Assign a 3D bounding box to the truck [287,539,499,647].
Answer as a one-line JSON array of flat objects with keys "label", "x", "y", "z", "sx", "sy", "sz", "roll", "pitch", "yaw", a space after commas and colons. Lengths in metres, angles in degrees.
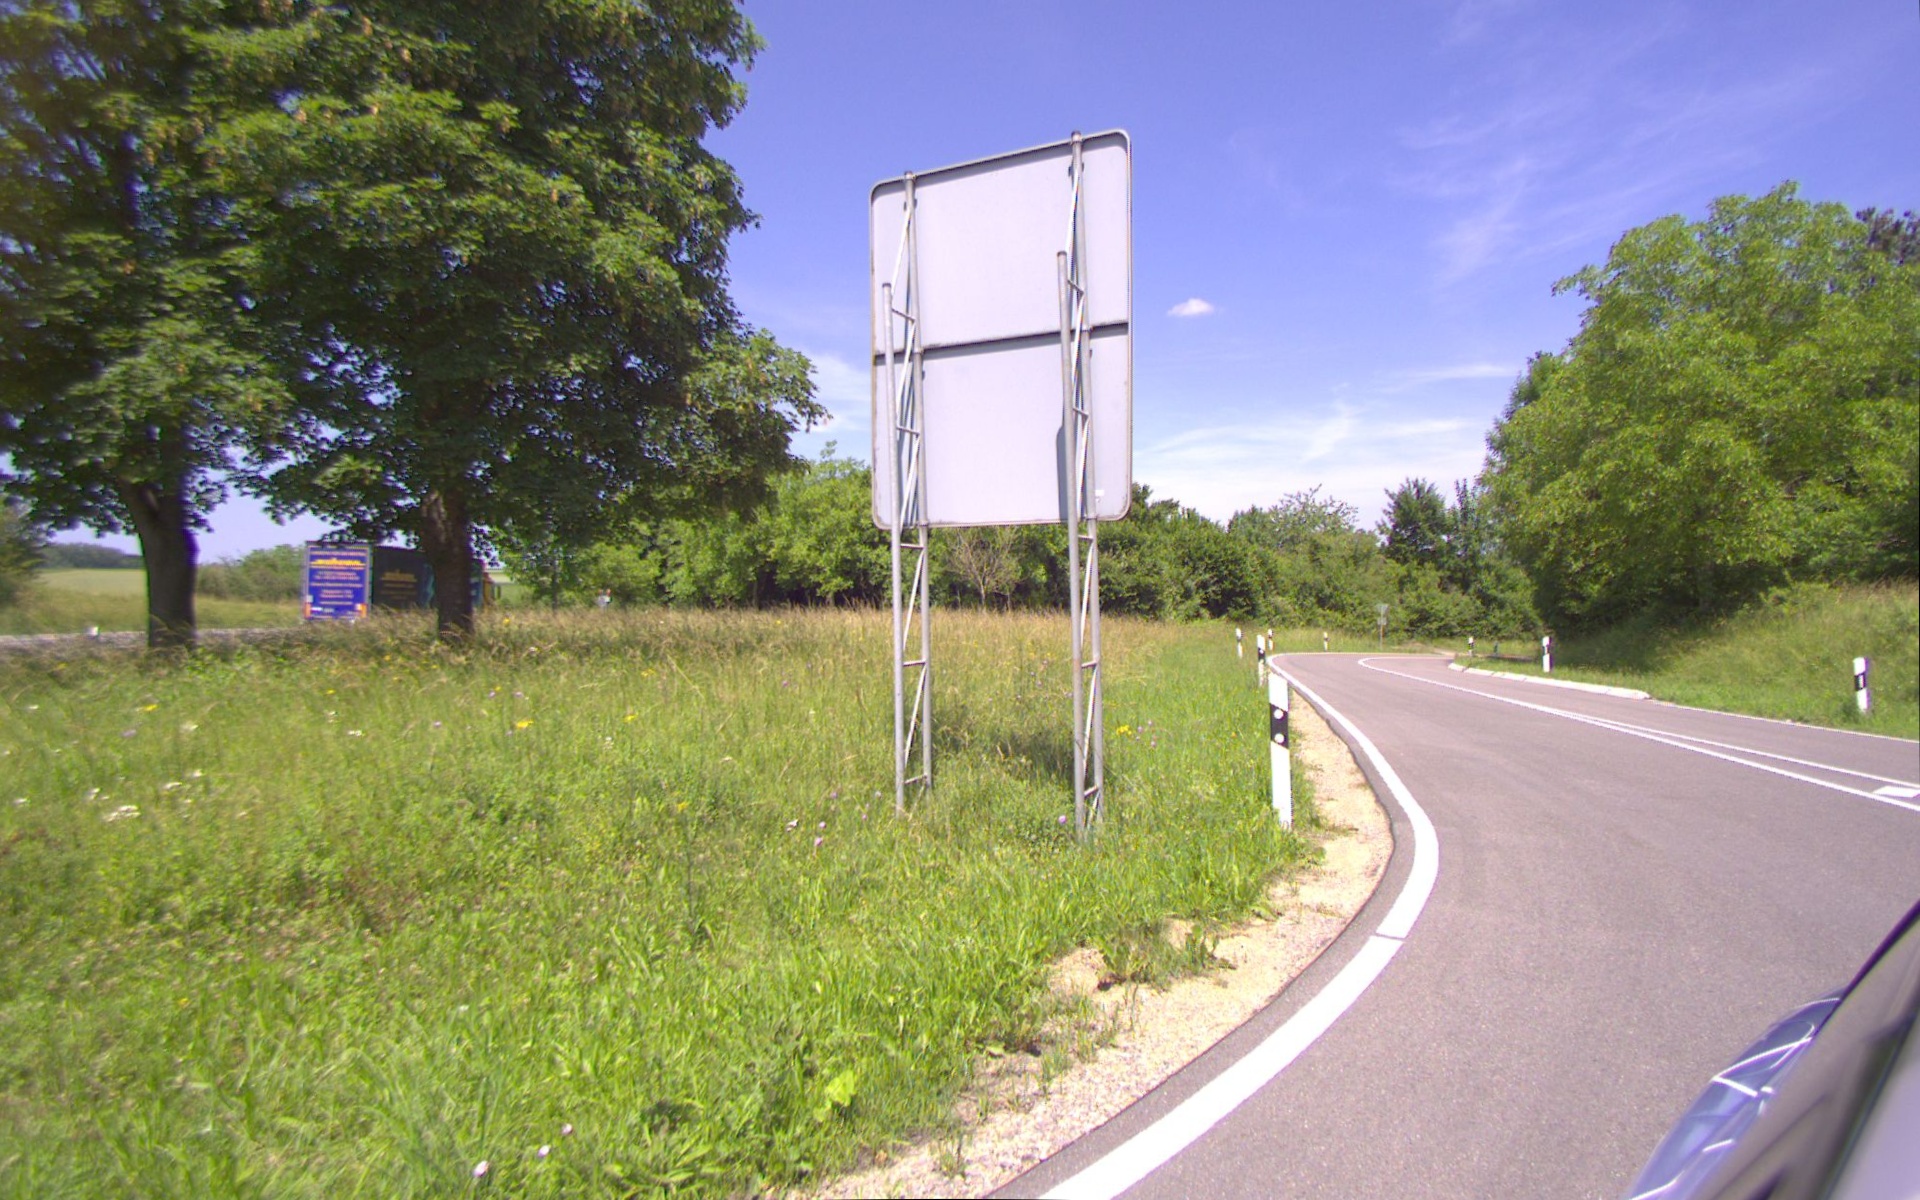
[{"label": "truck", "x": -26.007, "y": -0.247, "z": 48.048, "sx": 2.793, "sy": 4.184, "sz": 16.834, "roll": 1, "pitch": 0, "yaw": -8}]
